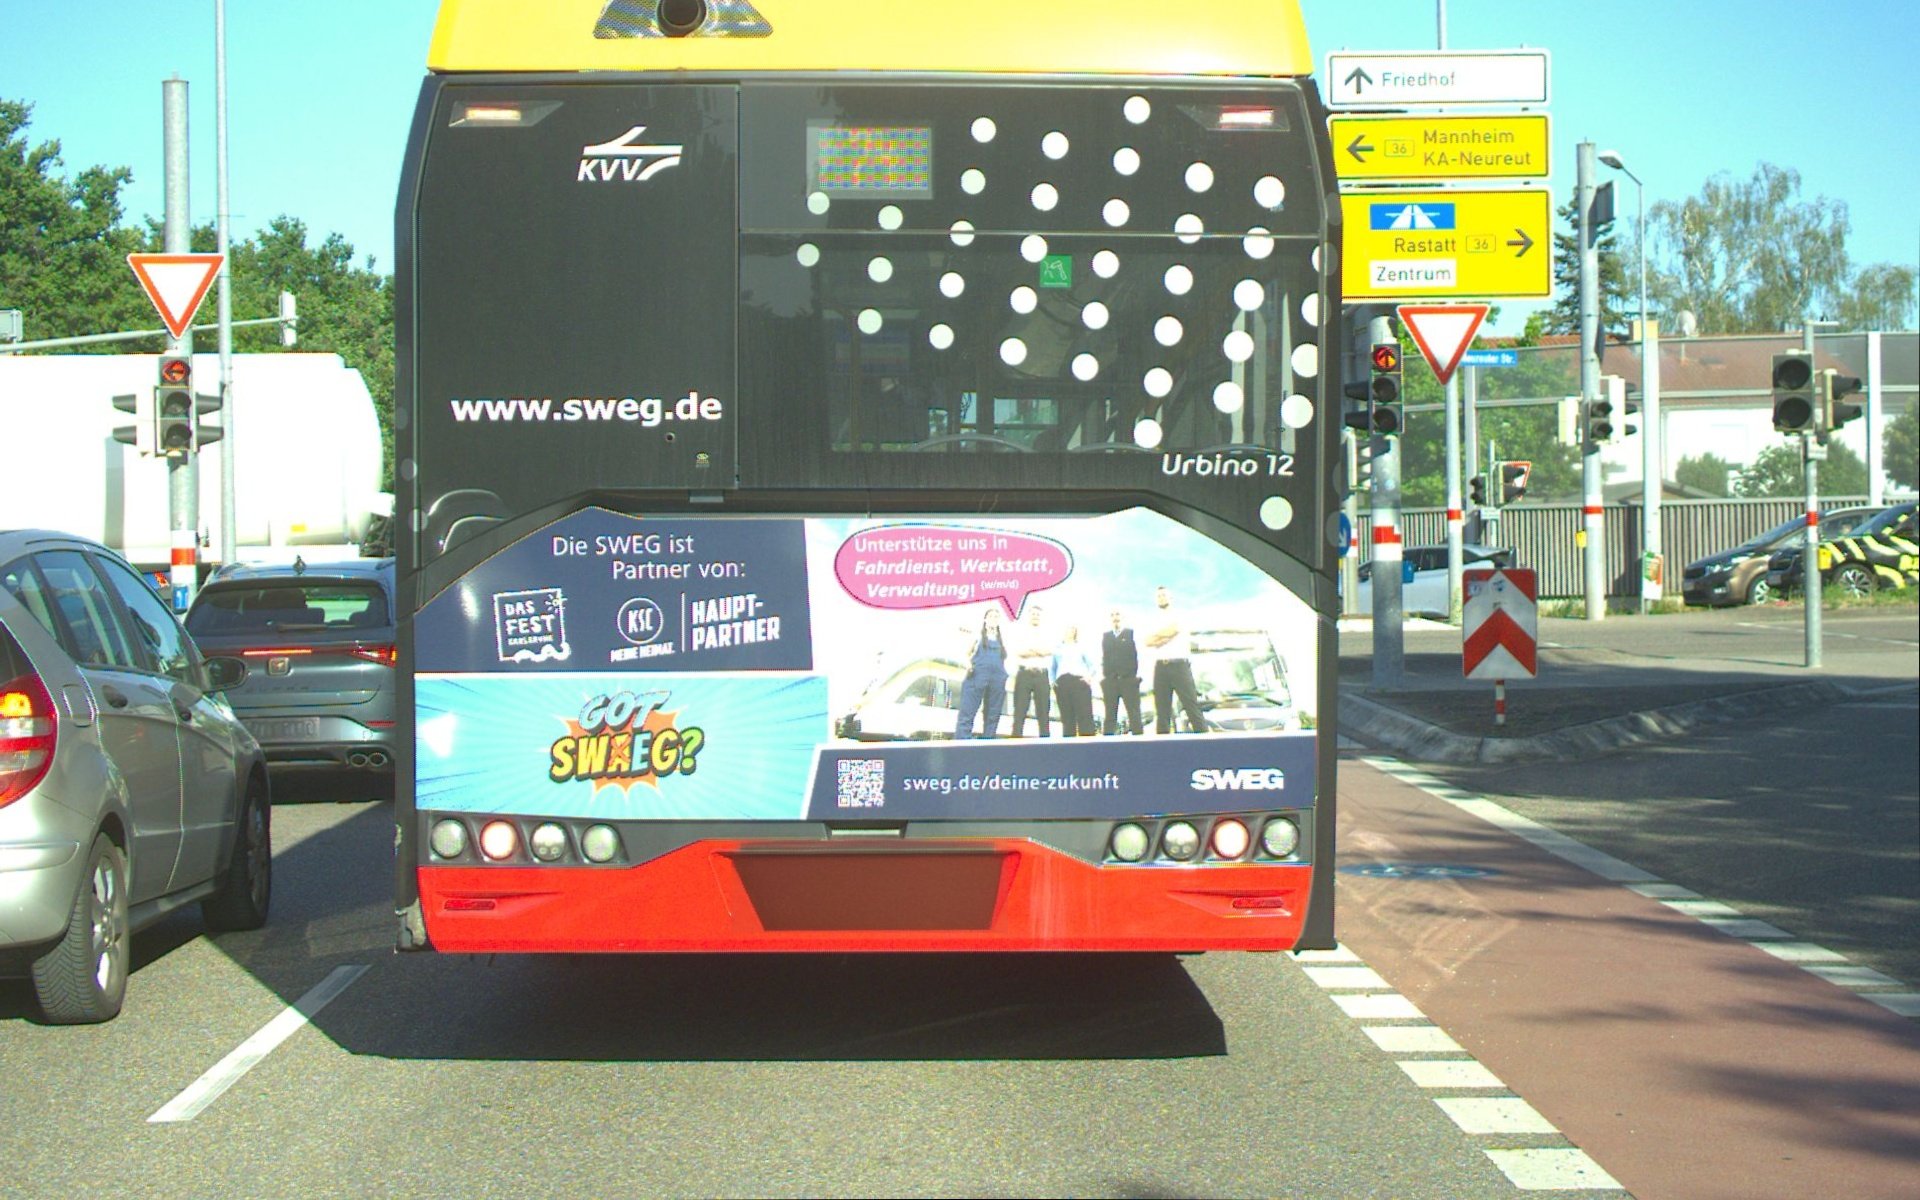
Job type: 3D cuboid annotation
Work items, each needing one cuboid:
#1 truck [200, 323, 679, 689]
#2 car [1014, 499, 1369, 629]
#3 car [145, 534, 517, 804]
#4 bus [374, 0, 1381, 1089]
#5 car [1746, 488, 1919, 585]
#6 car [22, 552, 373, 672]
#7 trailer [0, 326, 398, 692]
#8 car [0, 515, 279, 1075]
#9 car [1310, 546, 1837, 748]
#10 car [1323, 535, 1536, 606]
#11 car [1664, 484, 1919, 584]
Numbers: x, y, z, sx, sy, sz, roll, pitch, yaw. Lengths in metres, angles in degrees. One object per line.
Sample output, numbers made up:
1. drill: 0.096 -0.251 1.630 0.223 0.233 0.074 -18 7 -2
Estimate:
1. truck: -5.396 -0.989 36.272 4.800 3.682 2.411 -1 1 -5
2. car: 2.878 -0.443 43.255 4.220 1.557 1.763 0 0 -5
3. car: -3.744 0.378 21.020 1.588 1.480 3.682 -1 0 0
4. bus: -0.286 -0.500 14.929 2.596 3.323 11.984 0 1 -1
5. car: 13.203 -0.858 47.764 4.159 1.298 1.575 0 0 -4
6. car: -8.748 0.129 39.683 3.845 1.308 1.508 -1 0 -9
7. trailer: -11.658 -0.908 35.514 11.473 3.683 2.396 -1 1 -8
8. car: -3.599 0.541 12.195 1.753 1.614 4.034 -1 2 -3
9. car: 4.274 0.301 24.224 3.523 1.297 1.574 1 2 8
10. car: 8.494 -0.540 62.270 3.588 1.261 1.351 0 1 27
11. car: 12.735 -0.979 51.529 3.986 1.437 1.566 0 0 -6
